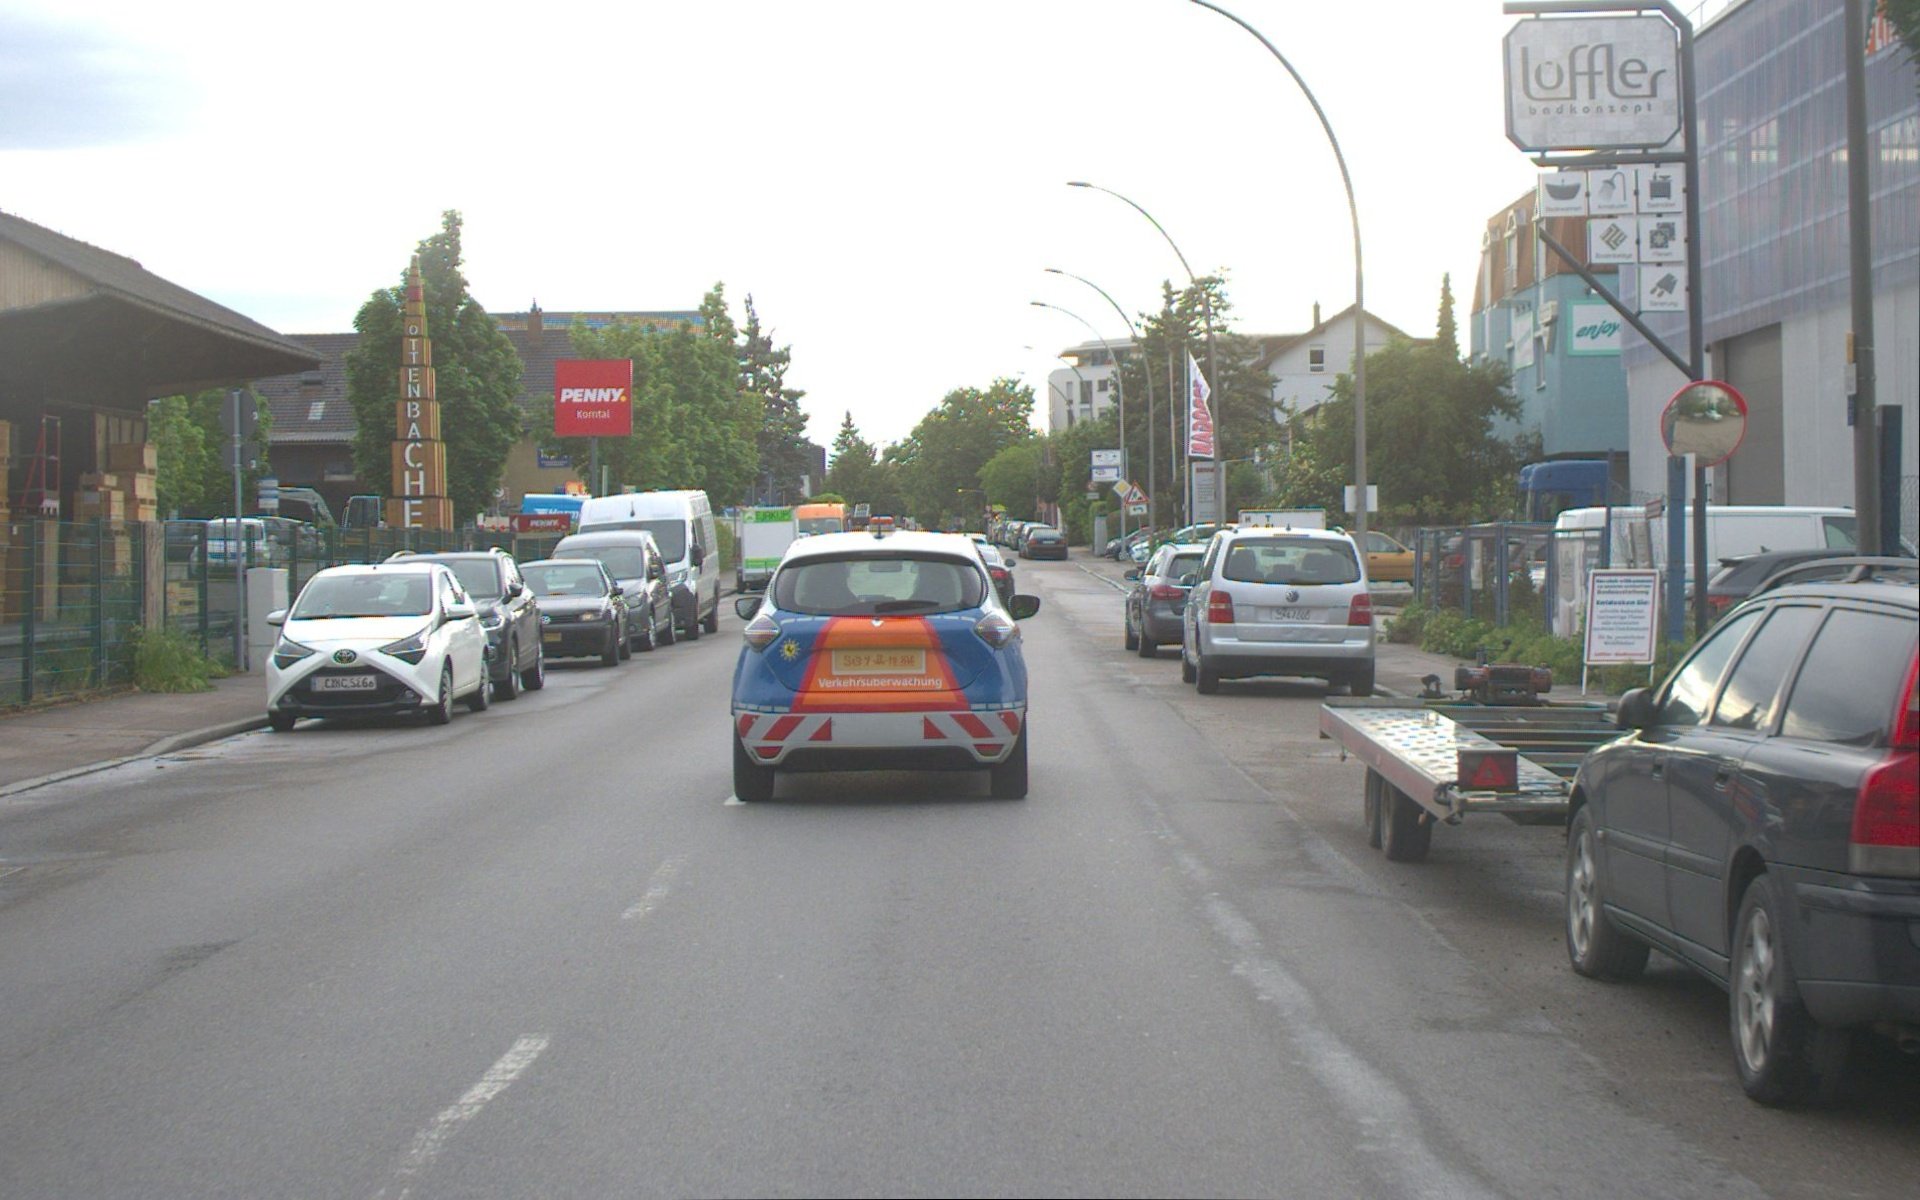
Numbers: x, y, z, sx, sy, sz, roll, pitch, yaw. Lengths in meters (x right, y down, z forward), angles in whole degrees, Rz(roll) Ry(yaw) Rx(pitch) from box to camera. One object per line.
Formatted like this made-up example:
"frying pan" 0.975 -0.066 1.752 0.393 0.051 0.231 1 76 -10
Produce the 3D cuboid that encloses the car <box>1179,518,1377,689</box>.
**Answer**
"car" 3.174 -0.003 34.990 1.739 1.616 4.373 1 1 2

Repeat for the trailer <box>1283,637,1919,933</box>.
"trailer" 2.980 0.765 16.838 2.174 0.894 6.637 1 2 0

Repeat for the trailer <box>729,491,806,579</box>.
"trailer" -5.331 -1.823 95.911 1.812 2.306 4.731 -3 1 0

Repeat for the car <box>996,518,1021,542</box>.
"car" 3.505 -5.090 250.241 1.650 1.666 4.000 1 1 -2

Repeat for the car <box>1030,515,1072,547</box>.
"car" 3.899 -2.965 148.044 1.589 1.336 4.093 -1 1 -1

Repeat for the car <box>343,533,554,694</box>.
"car" -5.457 0.109 37.072 1.661 1.579 3.917 -2 1 -1

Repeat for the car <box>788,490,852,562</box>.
"car" -5.097 -2.722 125.984 2.124 2.529 6.023 -2 2 -1

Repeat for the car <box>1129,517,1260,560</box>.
"car" 8.008 -2.107 117.697 4.338 1.470 1.903 0 1 0

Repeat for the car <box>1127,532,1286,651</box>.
"car" 3.164 -0.142 44.891 1.738 1.461 4.546 1 1 0

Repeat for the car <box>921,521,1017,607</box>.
"car" 0.134 -0.678 63.814 1.650 1.516 4.000 1 1 -2

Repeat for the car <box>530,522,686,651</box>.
"car" -5.351 -0.235 52.754 1.769 1.762 4.446 -4 1 1

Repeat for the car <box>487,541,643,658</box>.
"car" -5.278 -0.039 46.315 1.661 1.443 4.318 -2 1 -1

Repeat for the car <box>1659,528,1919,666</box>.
"car" 9.961 -0.040 37.879 4.103 1.452 2.000 1 1 1

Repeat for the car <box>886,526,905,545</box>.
"car" -4.898 -4.902 260.958 1.386 1.478 3.784 -1 1 -2

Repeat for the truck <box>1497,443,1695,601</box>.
"truck" 15.706 -1.917 85.085 4.143 3.661 2.720 3 1 -2

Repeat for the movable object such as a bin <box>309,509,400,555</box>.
"movable object such as a bin" -23.991 -2.696 136.292 3.421 1.753 2.000 0 1 -6

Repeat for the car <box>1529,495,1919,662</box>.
"car" 9.223 -0.258 40.391 4.731 1.880 2.000 1 1 1

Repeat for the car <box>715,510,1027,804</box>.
"car" -0.518 0.292 21.001 1.731 1.625 3.495 -1 1 -1

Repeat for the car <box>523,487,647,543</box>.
"car" -13.834 -3.129 127.046 4.306 2.007 2.063 1 1 1

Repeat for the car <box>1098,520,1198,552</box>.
"car" 7.772 -2.650 142.536 3.987 1.262 1.951 1 1 -1

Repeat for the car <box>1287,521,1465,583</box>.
"car" 9.812 -1.145 81.273 3.987 1.425 1.631 0 1 -1

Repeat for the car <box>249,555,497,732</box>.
"car" -5.446 0.359 32.269 1.616 1.504 3.660 -2 1 1

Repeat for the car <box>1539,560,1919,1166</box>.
"car" 2.957 0.608 10.492 1.740 1.428 4.648 1 1 2

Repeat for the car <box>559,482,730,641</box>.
"car" -5.295 -0.690 58.539 2.158 2.418 6.460 -4 1 0
